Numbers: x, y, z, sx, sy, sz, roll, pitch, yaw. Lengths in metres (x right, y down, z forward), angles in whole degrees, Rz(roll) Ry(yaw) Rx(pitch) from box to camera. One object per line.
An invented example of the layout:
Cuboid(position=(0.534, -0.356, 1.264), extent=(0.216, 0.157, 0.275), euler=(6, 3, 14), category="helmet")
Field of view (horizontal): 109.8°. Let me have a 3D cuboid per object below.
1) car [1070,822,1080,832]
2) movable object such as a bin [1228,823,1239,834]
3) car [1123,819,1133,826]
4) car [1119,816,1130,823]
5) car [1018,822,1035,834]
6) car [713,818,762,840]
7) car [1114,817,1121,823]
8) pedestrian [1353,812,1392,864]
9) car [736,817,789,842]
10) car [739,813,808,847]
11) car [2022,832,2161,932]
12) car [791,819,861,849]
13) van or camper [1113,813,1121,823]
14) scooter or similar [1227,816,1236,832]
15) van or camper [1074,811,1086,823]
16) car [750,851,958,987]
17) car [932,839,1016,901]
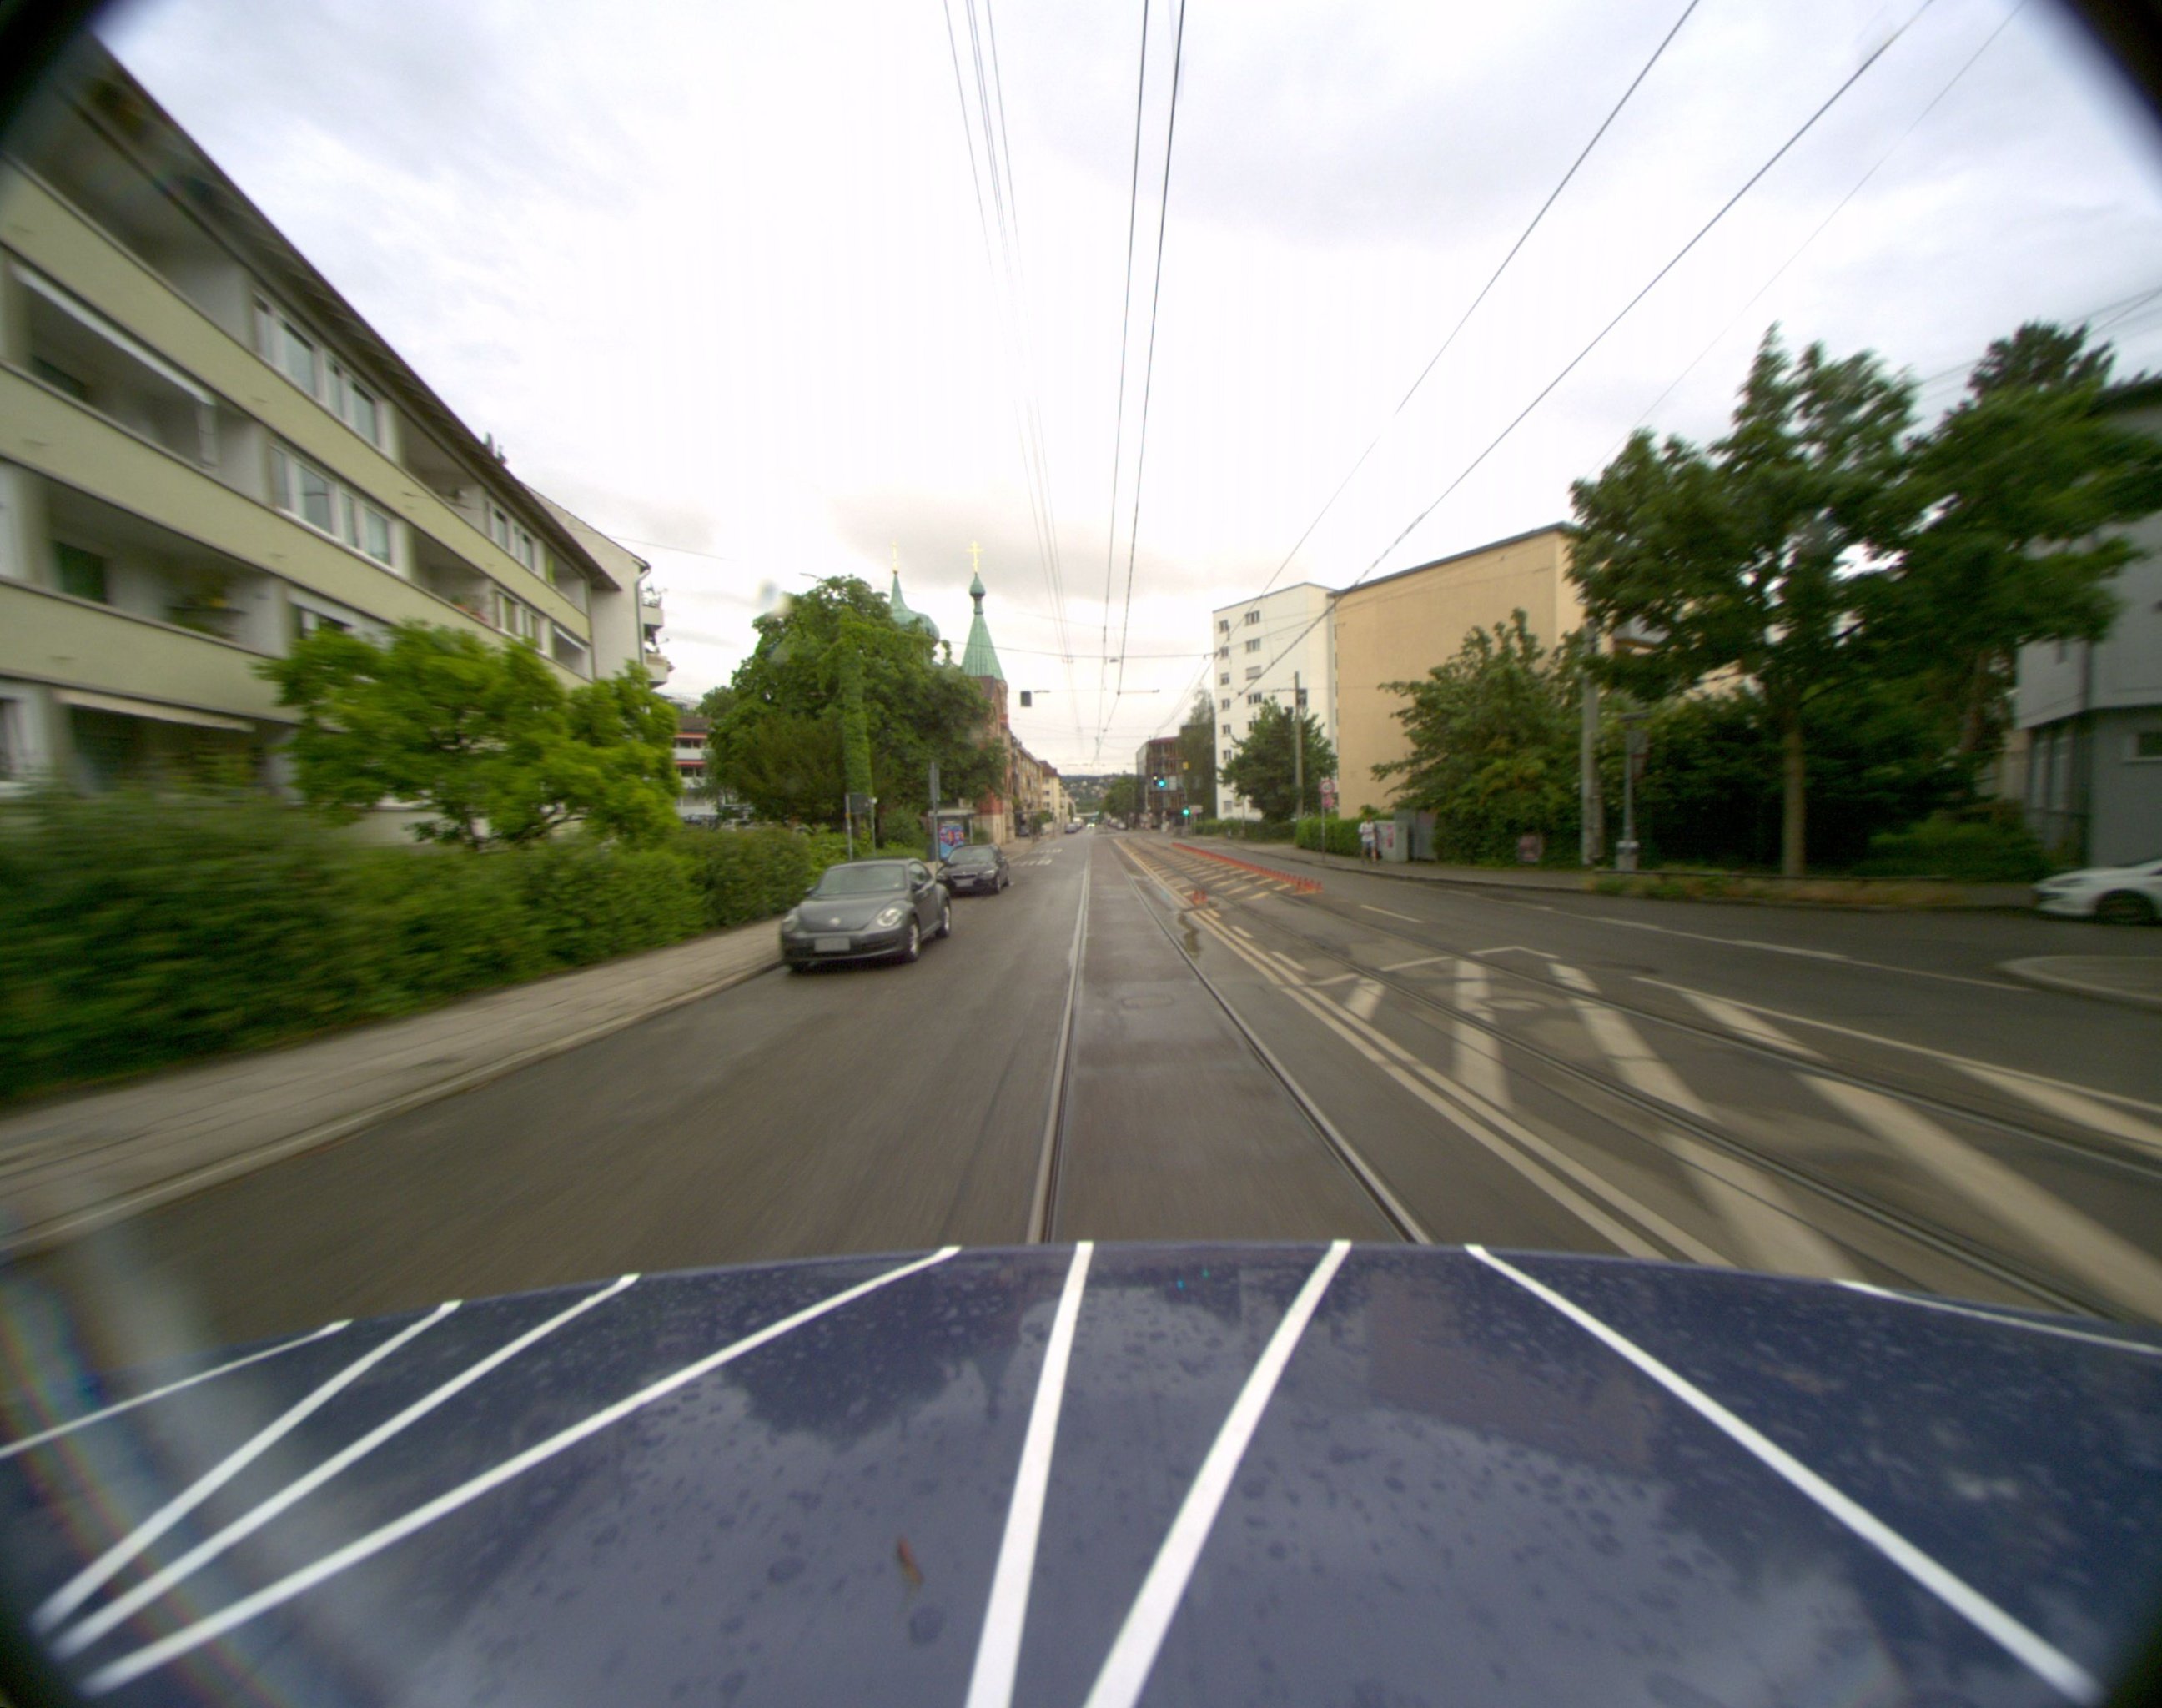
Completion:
Cuboid(position=(-1.028, -4.822, 133.899), extent=(1.734, 1.452, 4.475), euler=(-3, 4, 1), category="car")
Cuboid(position=(12.924, -2.132, 64.368), extent=(0.688, 0.877, 0.759), euler=(-3, 4, -4), category="movable object such as a bin")
Cuboid(position=(10.371, -6.989, 167.452), extent=(1.727, 1.456, 4.327), euler=(-1, 3, -3), category="car")
Cuboid(position=(8.696, -6.926, 151.930), extent=(1.862, 1.387, 4.642), euler=(-1, 3, 0), category="car")
Cuboid(position=(-7.376, -3.584, 103.544), extent=(1.858, 1.495, 4.446), euler=(1, 4, 2), category="car")
Cuboid(position=(-24.844, -1.776, 54.918), extent=(3.824, 1.437, 1.746), euler=(1, 5, 43), category="car")
Cuboid(position=(10.456, -9.769, 217.579), extent=(1.998, 1.566, 3.997), euler=(-3, 4, 0), category="car")
Cuboid(position=(10.759, -0.612, 28.077), extent=(0.921, 1.836, 1.016), euler=(-4, 4, -4), category="pedestrian")
Cuboid(position=(-21.813, -1.646, 51.951), extent=(3.984, 1.556, 1.845), euler=(1, 5, 44), category="car")
Cuboid(position=(-17.073, -1.328, 42.096), extent=(4.189, 1.686, 1.845), euler=(1, 5, 44), category="car")
Cuboid(position=(18.615, 0.441, 12.246), extent=(2.003, 1.473, 4.148), euler=(-7, 6, -43), category="car")
Cuboid(position=(-14.896, -1.159, 44.289), extent=(4.371, 1.550, 1.845), euler=(1, 5, 42), category="car")
Cuboid(position=(10.669, -10.647, 223.307), extent=(2.143, 2.589, 5.546), euler=(-3, 4, 2), category="van or camper")
Cuboid(position=(12.338, -2.463, 62.413), extent=(0.573, 1.178, 1.599), euler=(-2, 4, 7), category="scooter or similar")
Cuboid(position=(-0.183, -10.033, 204.357), extent=(2.753, 3.042, 7.026), euler=(-2, 4, 2), category="van or camper")
Cuboid(position=(-3.232, 0.820, 11.806), extent=(1.945, 1.456, 4.203), euler=(-3, 3, -1), category="car")
Cuboid(position=(-3.150, 0.401, 23.290), extent=(1.862, 1.479, 4.642), euler=(-3, 3, 0), category="car")
